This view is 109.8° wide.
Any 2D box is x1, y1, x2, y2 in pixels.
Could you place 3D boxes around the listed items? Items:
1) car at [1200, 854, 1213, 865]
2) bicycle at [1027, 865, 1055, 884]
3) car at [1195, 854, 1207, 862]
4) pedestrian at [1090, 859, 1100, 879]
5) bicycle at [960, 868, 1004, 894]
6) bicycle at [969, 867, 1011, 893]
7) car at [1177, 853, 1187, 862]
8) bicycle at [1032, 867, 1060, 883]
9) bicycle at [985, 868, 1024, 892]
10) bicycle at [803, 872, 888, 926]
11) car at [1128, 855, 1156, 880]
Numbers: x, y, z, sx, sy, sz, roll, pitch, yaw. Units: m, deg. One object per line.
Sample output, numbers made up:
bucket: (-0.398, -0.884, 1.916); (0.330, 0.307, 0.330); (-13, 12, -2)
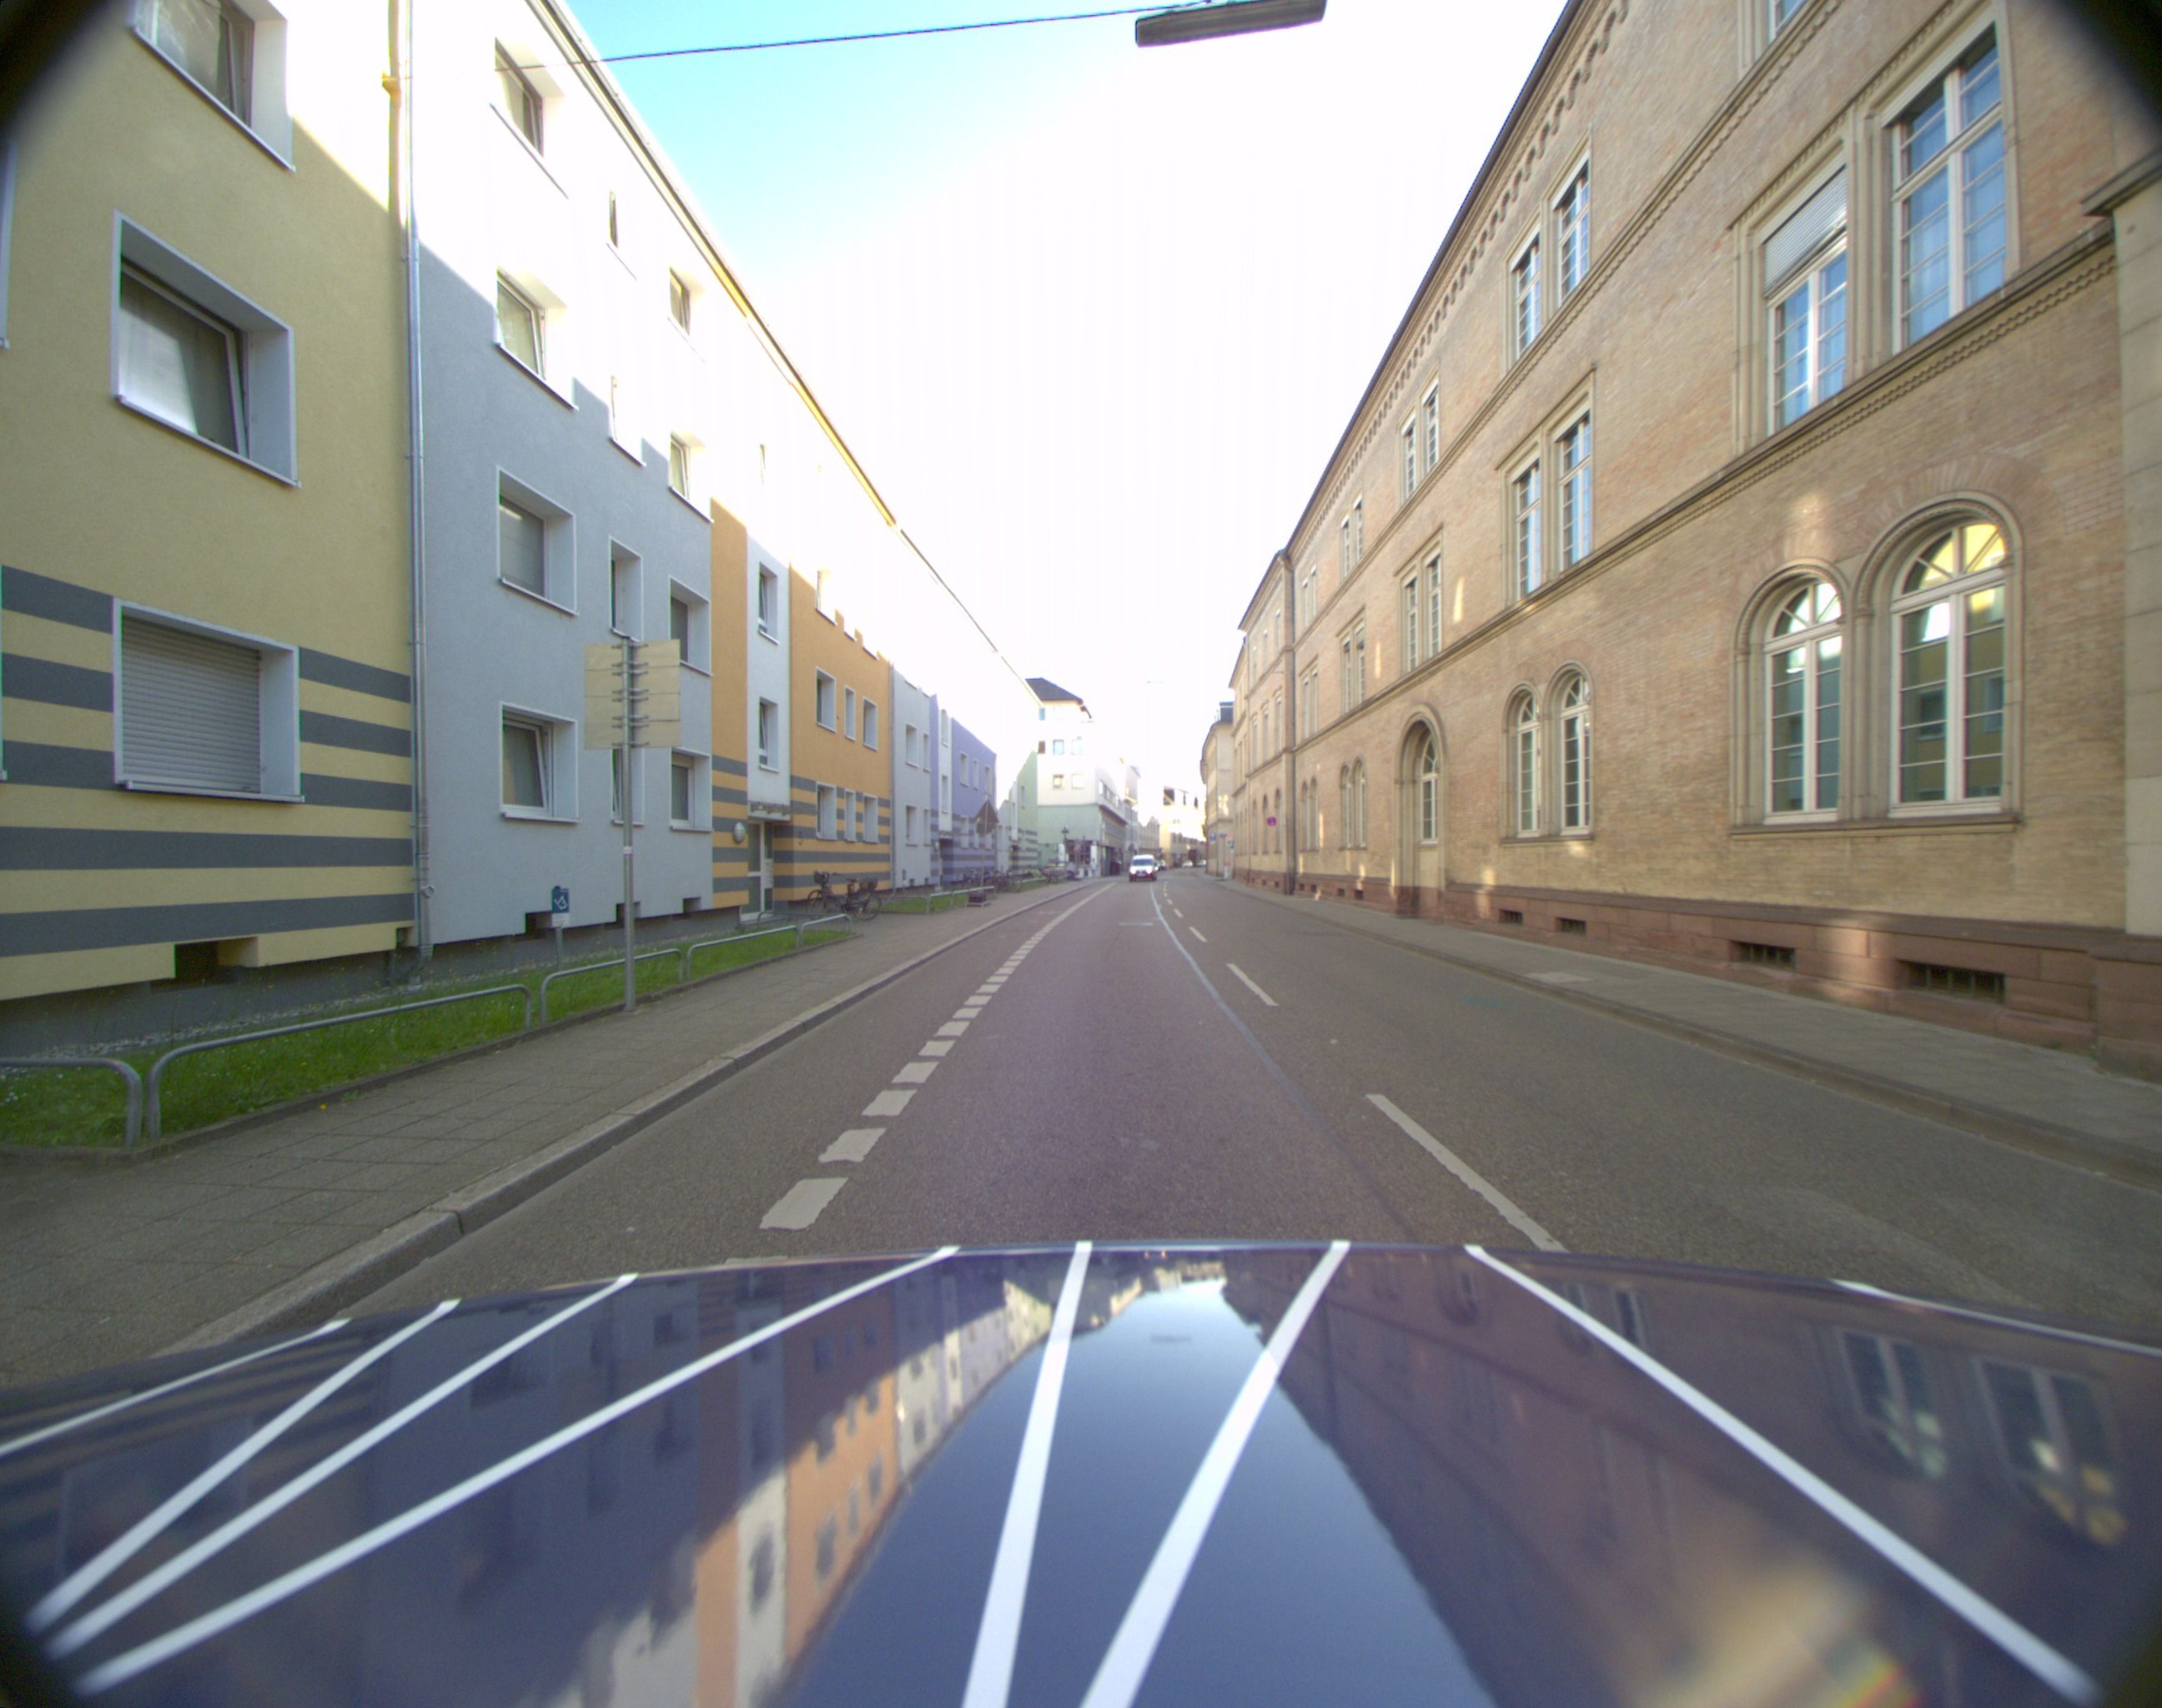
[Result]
car: (19.882, 0.816, 120.099); (1.662, 1.714, 3.743); (0, 0, 14)
bicycle: (-2.422, 1.253, 46.129); (1.711, 1.097, 0.584); (1, 0, -2)
car: (25.903, 0.823, 163.537); (1.925, 1.714, 4.236); (0, 0, 19)
pedestrian: (1.082, 1.114, 57.207); (0.708, 1.510, 0.661); (-1, 0, 4)
bicycle: (-4.153, 1.130, 31.867); (1.710, 1.039, 0.636); (1, 0, 2)
bicycle: (-3.951, 1.119, 33.009); (1.710, 1.075, 0.636); (1, 0, 1)
car: (19.926, 0.631, 149.669); (1.534, 1.714, 3.743); (0, 0, 16)
bicycle: (-2.174, 1.325, 47.589); (1.711, 0.972, 0.516); (1, 0, -2)
bicycle: (-3.392, 1.156, 33.770); (1.711, 1.029, 0.636); (1, 0, -2)
bicycle: (-5.292, 1.010, 17.114); (1.711, 1.152, 0.636); (1, 0, -2)
car: (4.381, 0.945, 54.341); (1.922, 1.712, 4.962); (0, 0, 5)
